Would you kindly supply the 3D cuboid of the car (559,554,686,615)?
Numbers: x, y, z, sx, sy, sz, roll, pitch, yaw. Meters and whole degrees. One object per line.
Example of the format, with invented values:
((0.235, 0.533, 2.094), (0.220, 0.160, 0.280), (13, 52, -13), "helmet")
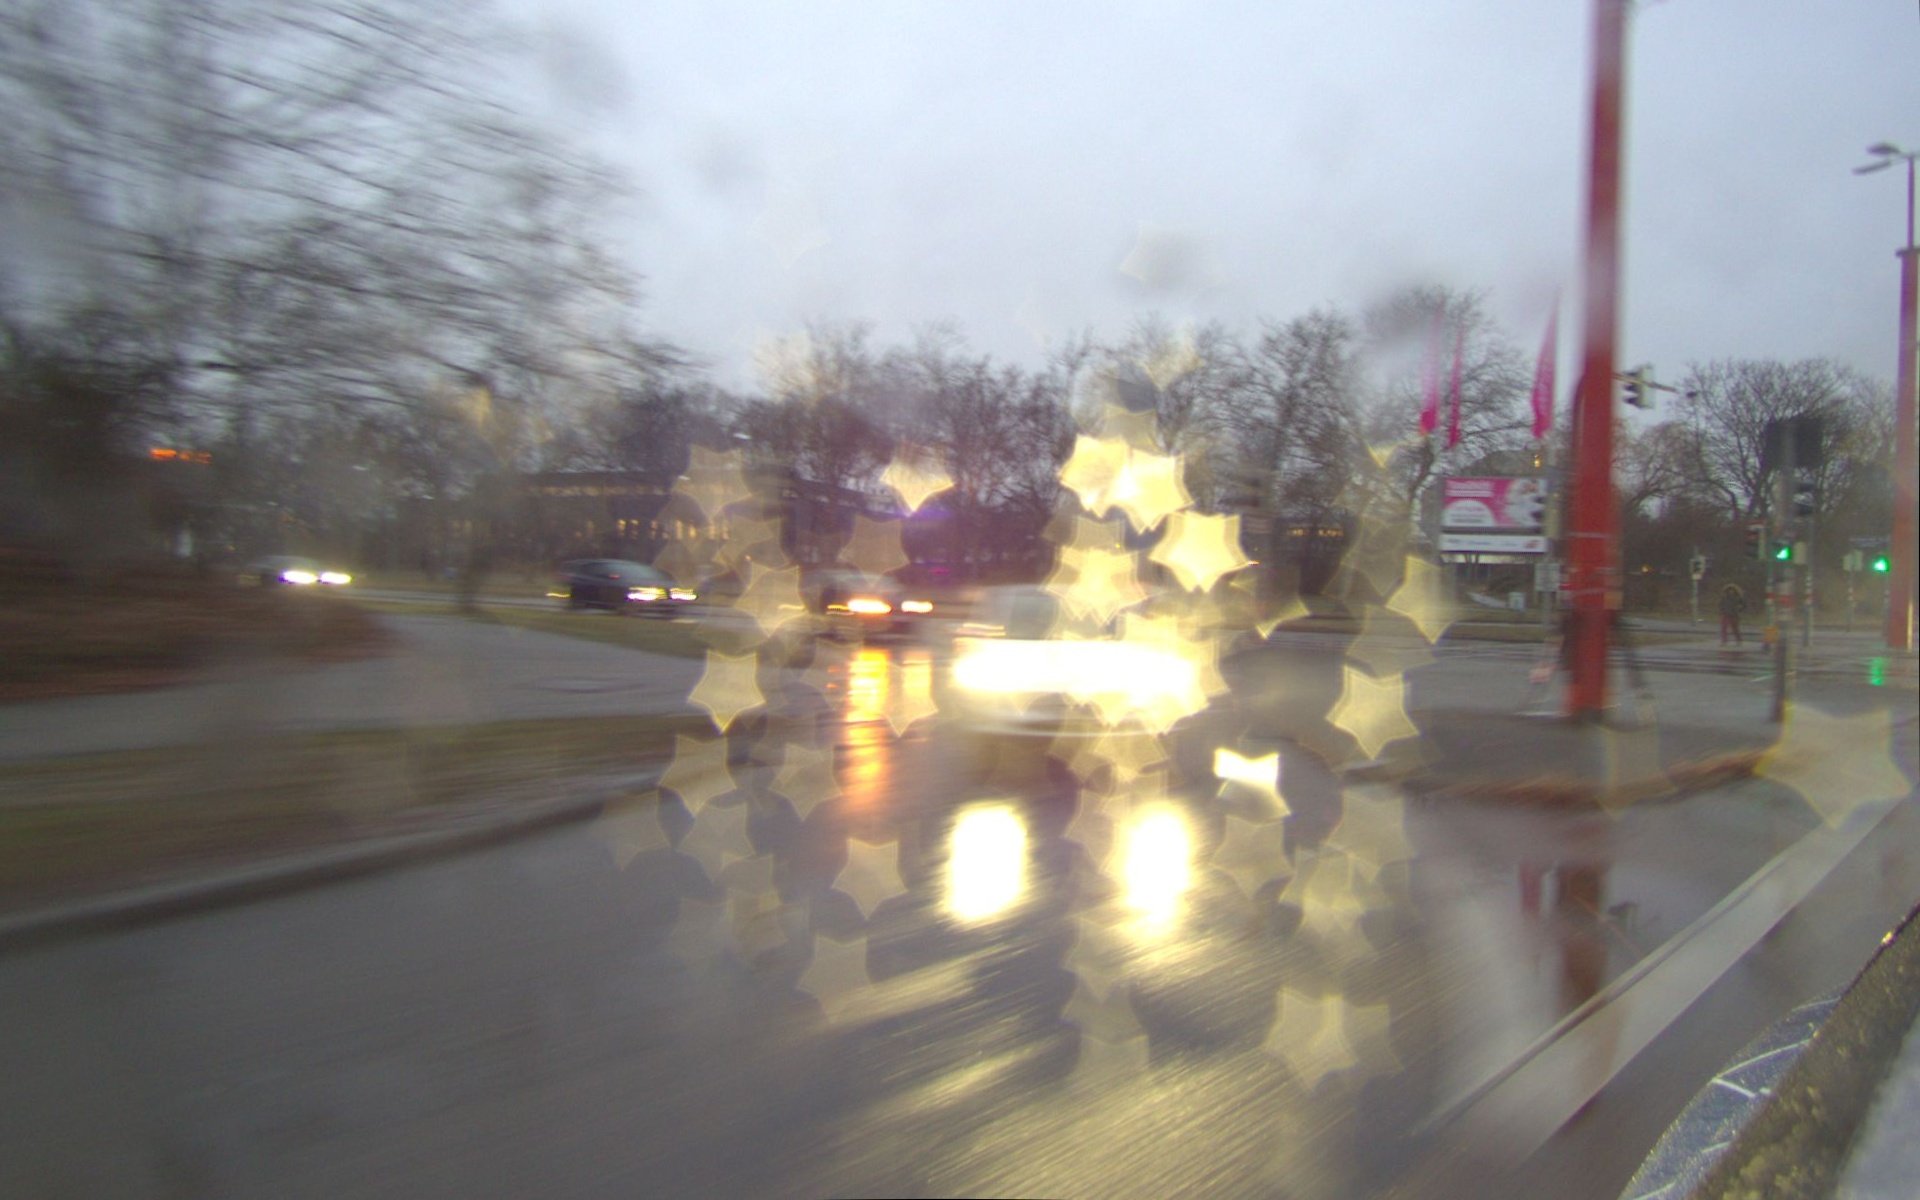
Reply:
((-9.874, -0.477, 29.527), (3.867, 1.655, 1.636), (2, 2, 37), "car")

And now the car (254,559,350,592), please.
((-26.982, -1.004, 41.480), (3.975, 1.258, 1.975), (2, 2, 35), "car")

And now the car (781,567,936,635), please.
((-2.303, -0.036, 22.099), (1.606, 1.326, 4.000), (0, 2, -35), "car")

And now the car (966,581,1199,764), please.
((1.026, 0.534, 10.502), (1.848, 1.393, 4.754), (1, 2, 1), "car")
